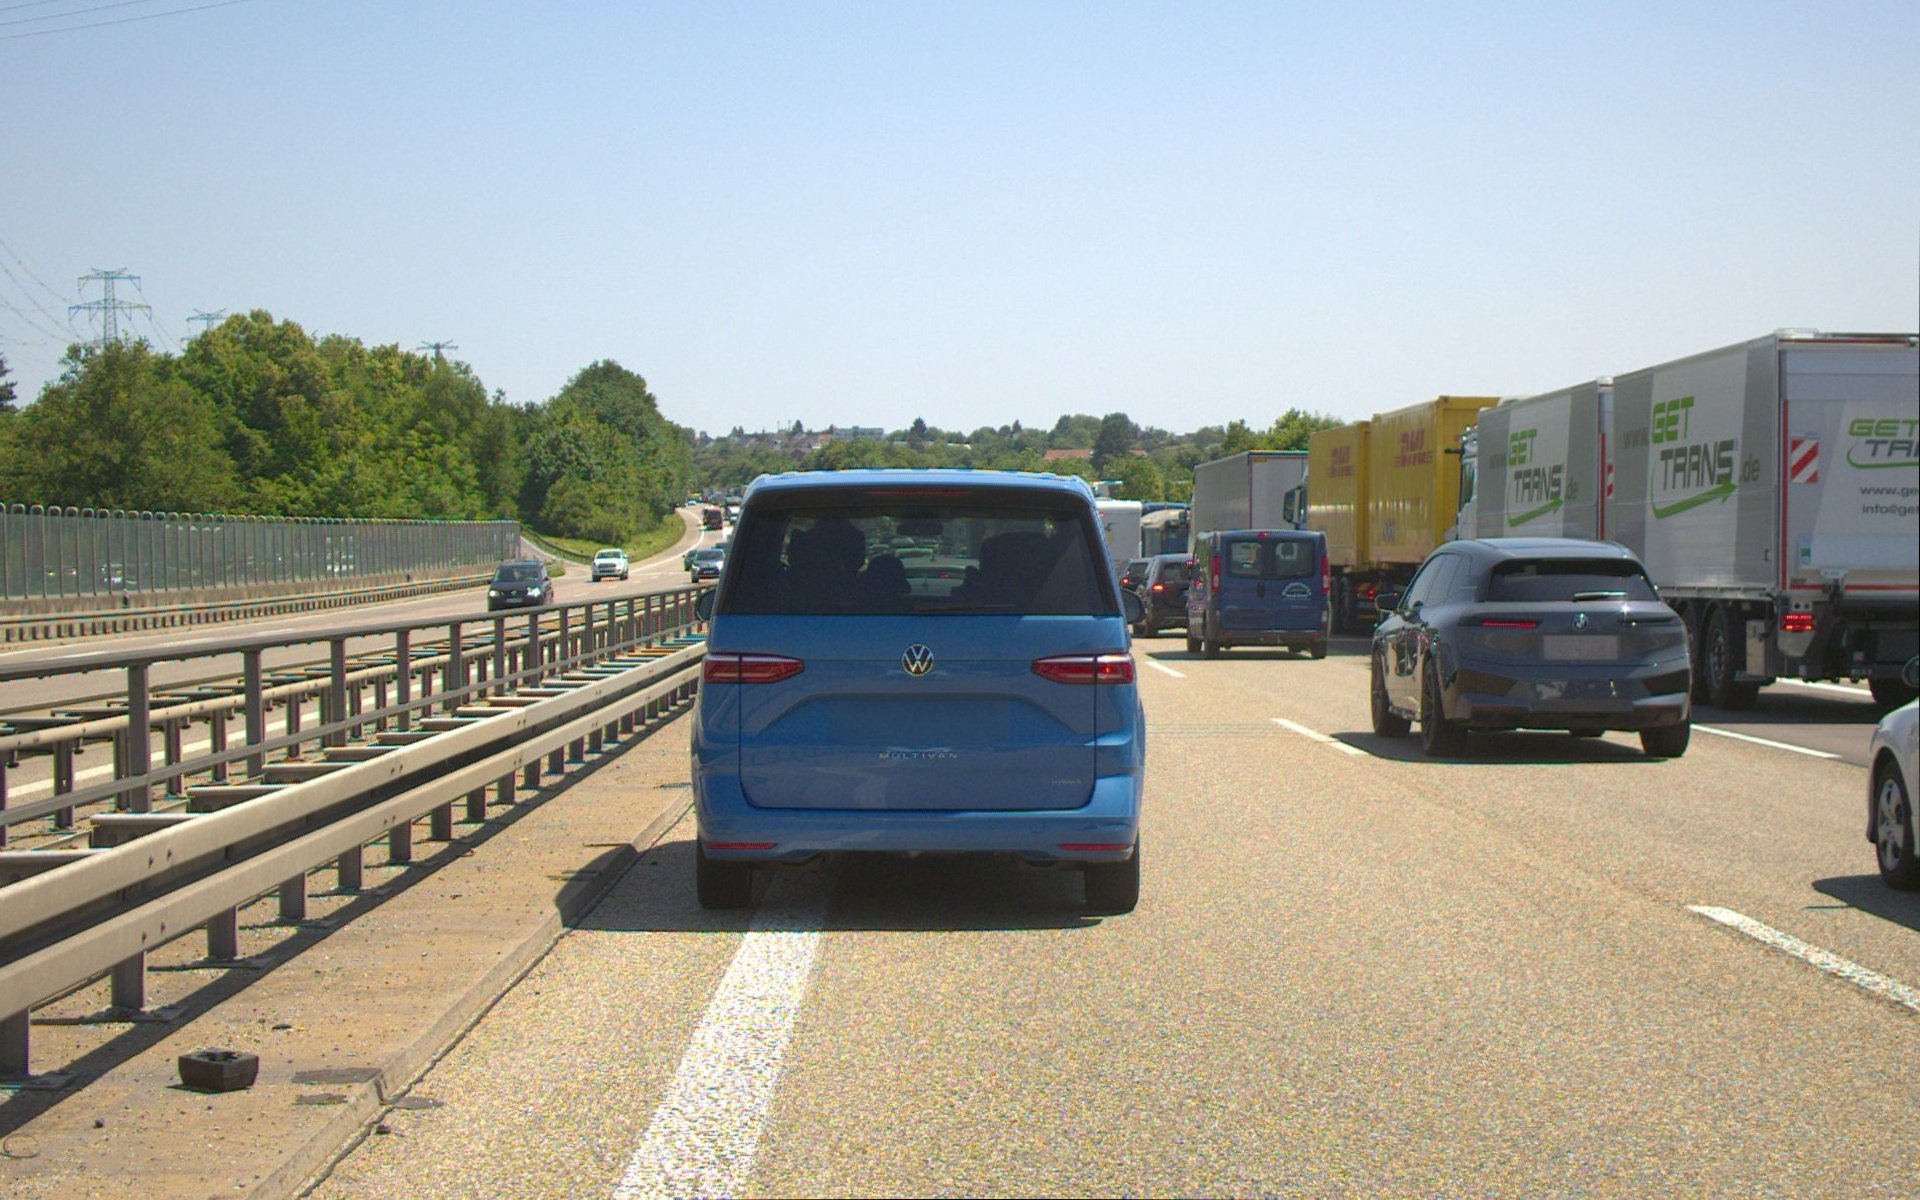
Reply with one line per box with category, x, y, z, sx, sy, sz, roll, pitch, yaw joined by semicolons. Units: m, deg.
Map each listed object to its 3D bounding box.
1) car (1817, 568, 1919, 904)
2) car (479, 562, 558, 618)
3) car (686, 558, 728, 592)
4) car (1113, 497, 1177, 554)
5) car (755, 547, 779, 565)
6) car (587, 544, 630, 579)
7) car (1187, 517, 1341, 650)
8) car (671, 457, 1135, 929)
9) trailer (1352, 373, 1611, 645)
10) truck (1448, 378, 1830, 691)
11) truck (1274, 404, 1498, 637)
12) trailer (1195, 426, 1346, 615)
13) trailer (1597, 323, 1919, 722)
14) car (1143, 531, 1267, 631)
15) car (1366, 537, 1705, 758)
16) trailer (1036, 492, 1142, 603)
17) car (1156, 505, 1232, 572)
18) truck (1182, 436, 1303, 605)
car;5.071;0.602;14.503;1.788;1.450;4.293;0;1;-1
car;-13.854;-0.332;108.030;1.993;1.666;4.187;-2;1;-1
car;-12.641;-1.251;171.936;1.805;1.622;4.478;1;1;-1
car;6.642;-2.663;123.714;1.993;2.007;4.461;-1;1;0
car;-14.498;-3.309;258.876;1.597;1.313;4.342;-2;1;-1
car;-20.249;-2.244;198.124;1.993;1.878;5.256;-3;1;-1
car;4.677;-0.276;53.398;1.962;1.986;4.293;0;1;-1
car;-0.244;0.352;15.723;1.820;1.851;4.075;1;1;-1
trailer;8.706;-1.462;58.472;2.864;4.224;9.012;1;0;-1
truck;8.649;-0.841;45.353;2.656;3.635;11.011;0;1;-1
truck;8.308;-1.515;68.485;2.836;4.228;11.011;1;1;-1
trailer;7.826;-1.990;88.051;2.637;4.501;11.302;1;1;-1
trailer;8.802;-0.774;35.832;2.698;3.687;8.015;0;1;-1
car;4.570;-0.380;64.559;1.993;1.809;4.000;0;1;-1
car;4.530;0.323;27.701;1.962;1.639;4.293;0;1;-1
trailer;3.646;-1.470;99.284;2.569;2.980;10.663;1;0;0
car;7.177;-1.867;105.747;1.993;2.007;4.000;1;0;0
truck;7.763;-2.137;95.187;2.667;4.469;6.850;1;0;0
